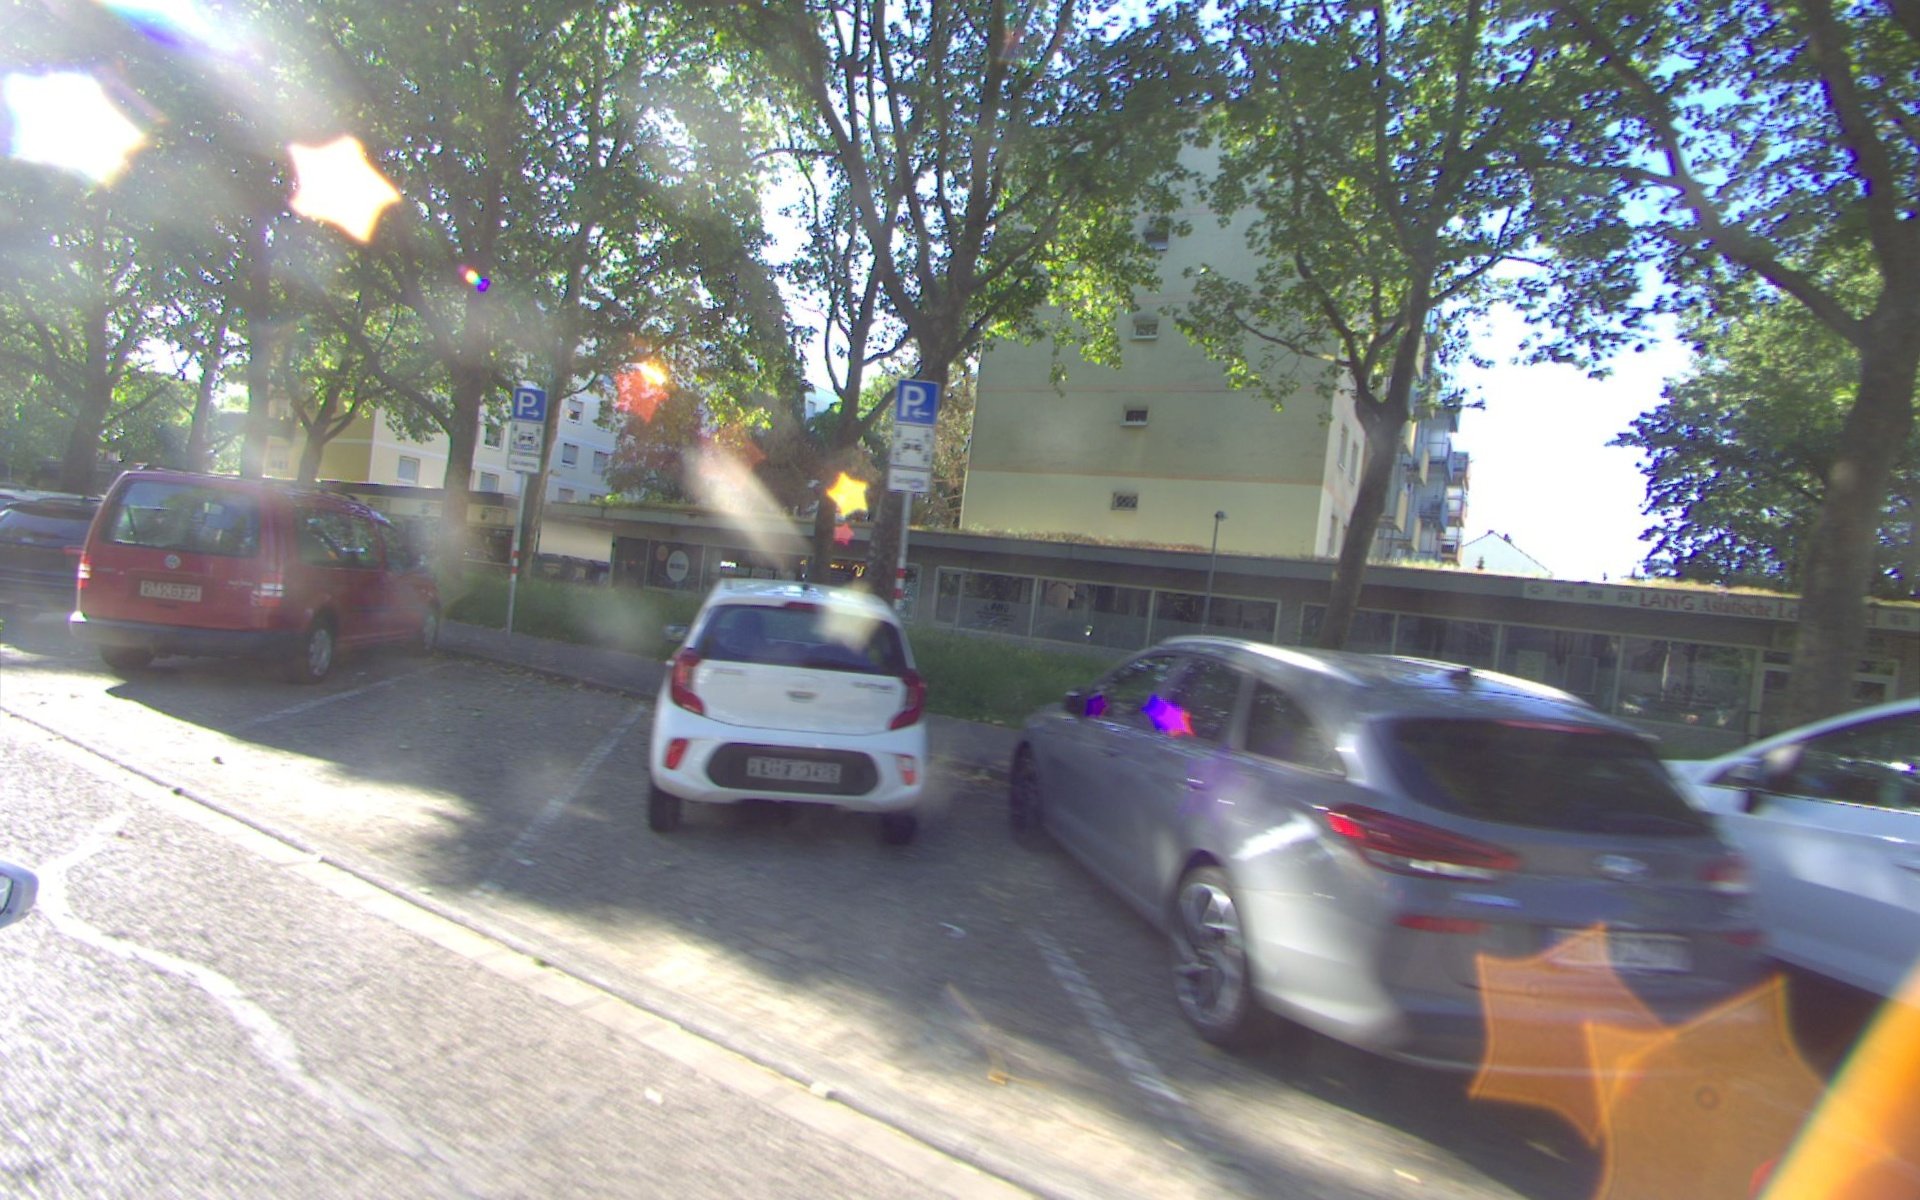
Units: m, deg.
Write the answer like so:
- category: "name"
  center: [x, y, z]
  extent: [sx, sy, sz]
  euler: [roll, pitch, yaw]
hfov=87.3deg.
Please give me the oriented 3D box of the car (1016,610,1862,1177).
- category: "car"
  center: [1.594, 0.940, 4.854]
  extent: [1.624, 1.489, 3.778]
  euler: [6, 0, -11]

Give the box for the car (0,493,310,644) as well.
- category: "car"
  center: [-10.219, -0.390, 12.575]
  extent: [1.621, 1.500, 4.081]
  euler: [6, 0, -4]

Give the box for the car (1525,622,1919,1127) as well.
- category: "car"
  center: [4.358, 1.112, 3.677]
  extent: [1.730, 1.726, 4.020]
  euler: [6, 0, -9]

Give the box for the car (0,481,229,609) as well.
- category: "car"
  center: [-13.186, -0.800, 15.180]
  extent: [1.751, 1.601, 4.078]
  euler: [7, -1, -10]

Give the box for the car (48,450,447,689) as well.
- category: "car"
  center: [-7.010, -0.279, 10.488]
  extent: [1.623, 1.834, 4.077]
  euler: [6, 0, -9]

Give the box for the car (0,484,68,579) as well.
- category: "car"
  center: [-18.616, -1.386, 18.045]
  extent: [1.607, 1.737, 4.316]
  euler: [7, -1, -7]

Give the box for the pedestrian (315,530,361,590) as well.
- category: "pedestrian"
  center: [-21.520, -1.367, 34.822]
  extent: [0.855, 1.937, 0.875]
  euler: [7, 0, 23]

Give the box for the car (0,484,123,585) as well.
- category: "car"
  center: [-16.167, -1.145, 16.601]
  extent: [1.751, 1.602, 4.076]
  euler: [6, 0, -11]

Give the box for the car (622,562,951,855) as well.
- category: "car"
  center: [-1.343, 0.564, 7.185]
  extent: [1.625, 1.466, 3.616]
  euler: [6, 0, -14]
